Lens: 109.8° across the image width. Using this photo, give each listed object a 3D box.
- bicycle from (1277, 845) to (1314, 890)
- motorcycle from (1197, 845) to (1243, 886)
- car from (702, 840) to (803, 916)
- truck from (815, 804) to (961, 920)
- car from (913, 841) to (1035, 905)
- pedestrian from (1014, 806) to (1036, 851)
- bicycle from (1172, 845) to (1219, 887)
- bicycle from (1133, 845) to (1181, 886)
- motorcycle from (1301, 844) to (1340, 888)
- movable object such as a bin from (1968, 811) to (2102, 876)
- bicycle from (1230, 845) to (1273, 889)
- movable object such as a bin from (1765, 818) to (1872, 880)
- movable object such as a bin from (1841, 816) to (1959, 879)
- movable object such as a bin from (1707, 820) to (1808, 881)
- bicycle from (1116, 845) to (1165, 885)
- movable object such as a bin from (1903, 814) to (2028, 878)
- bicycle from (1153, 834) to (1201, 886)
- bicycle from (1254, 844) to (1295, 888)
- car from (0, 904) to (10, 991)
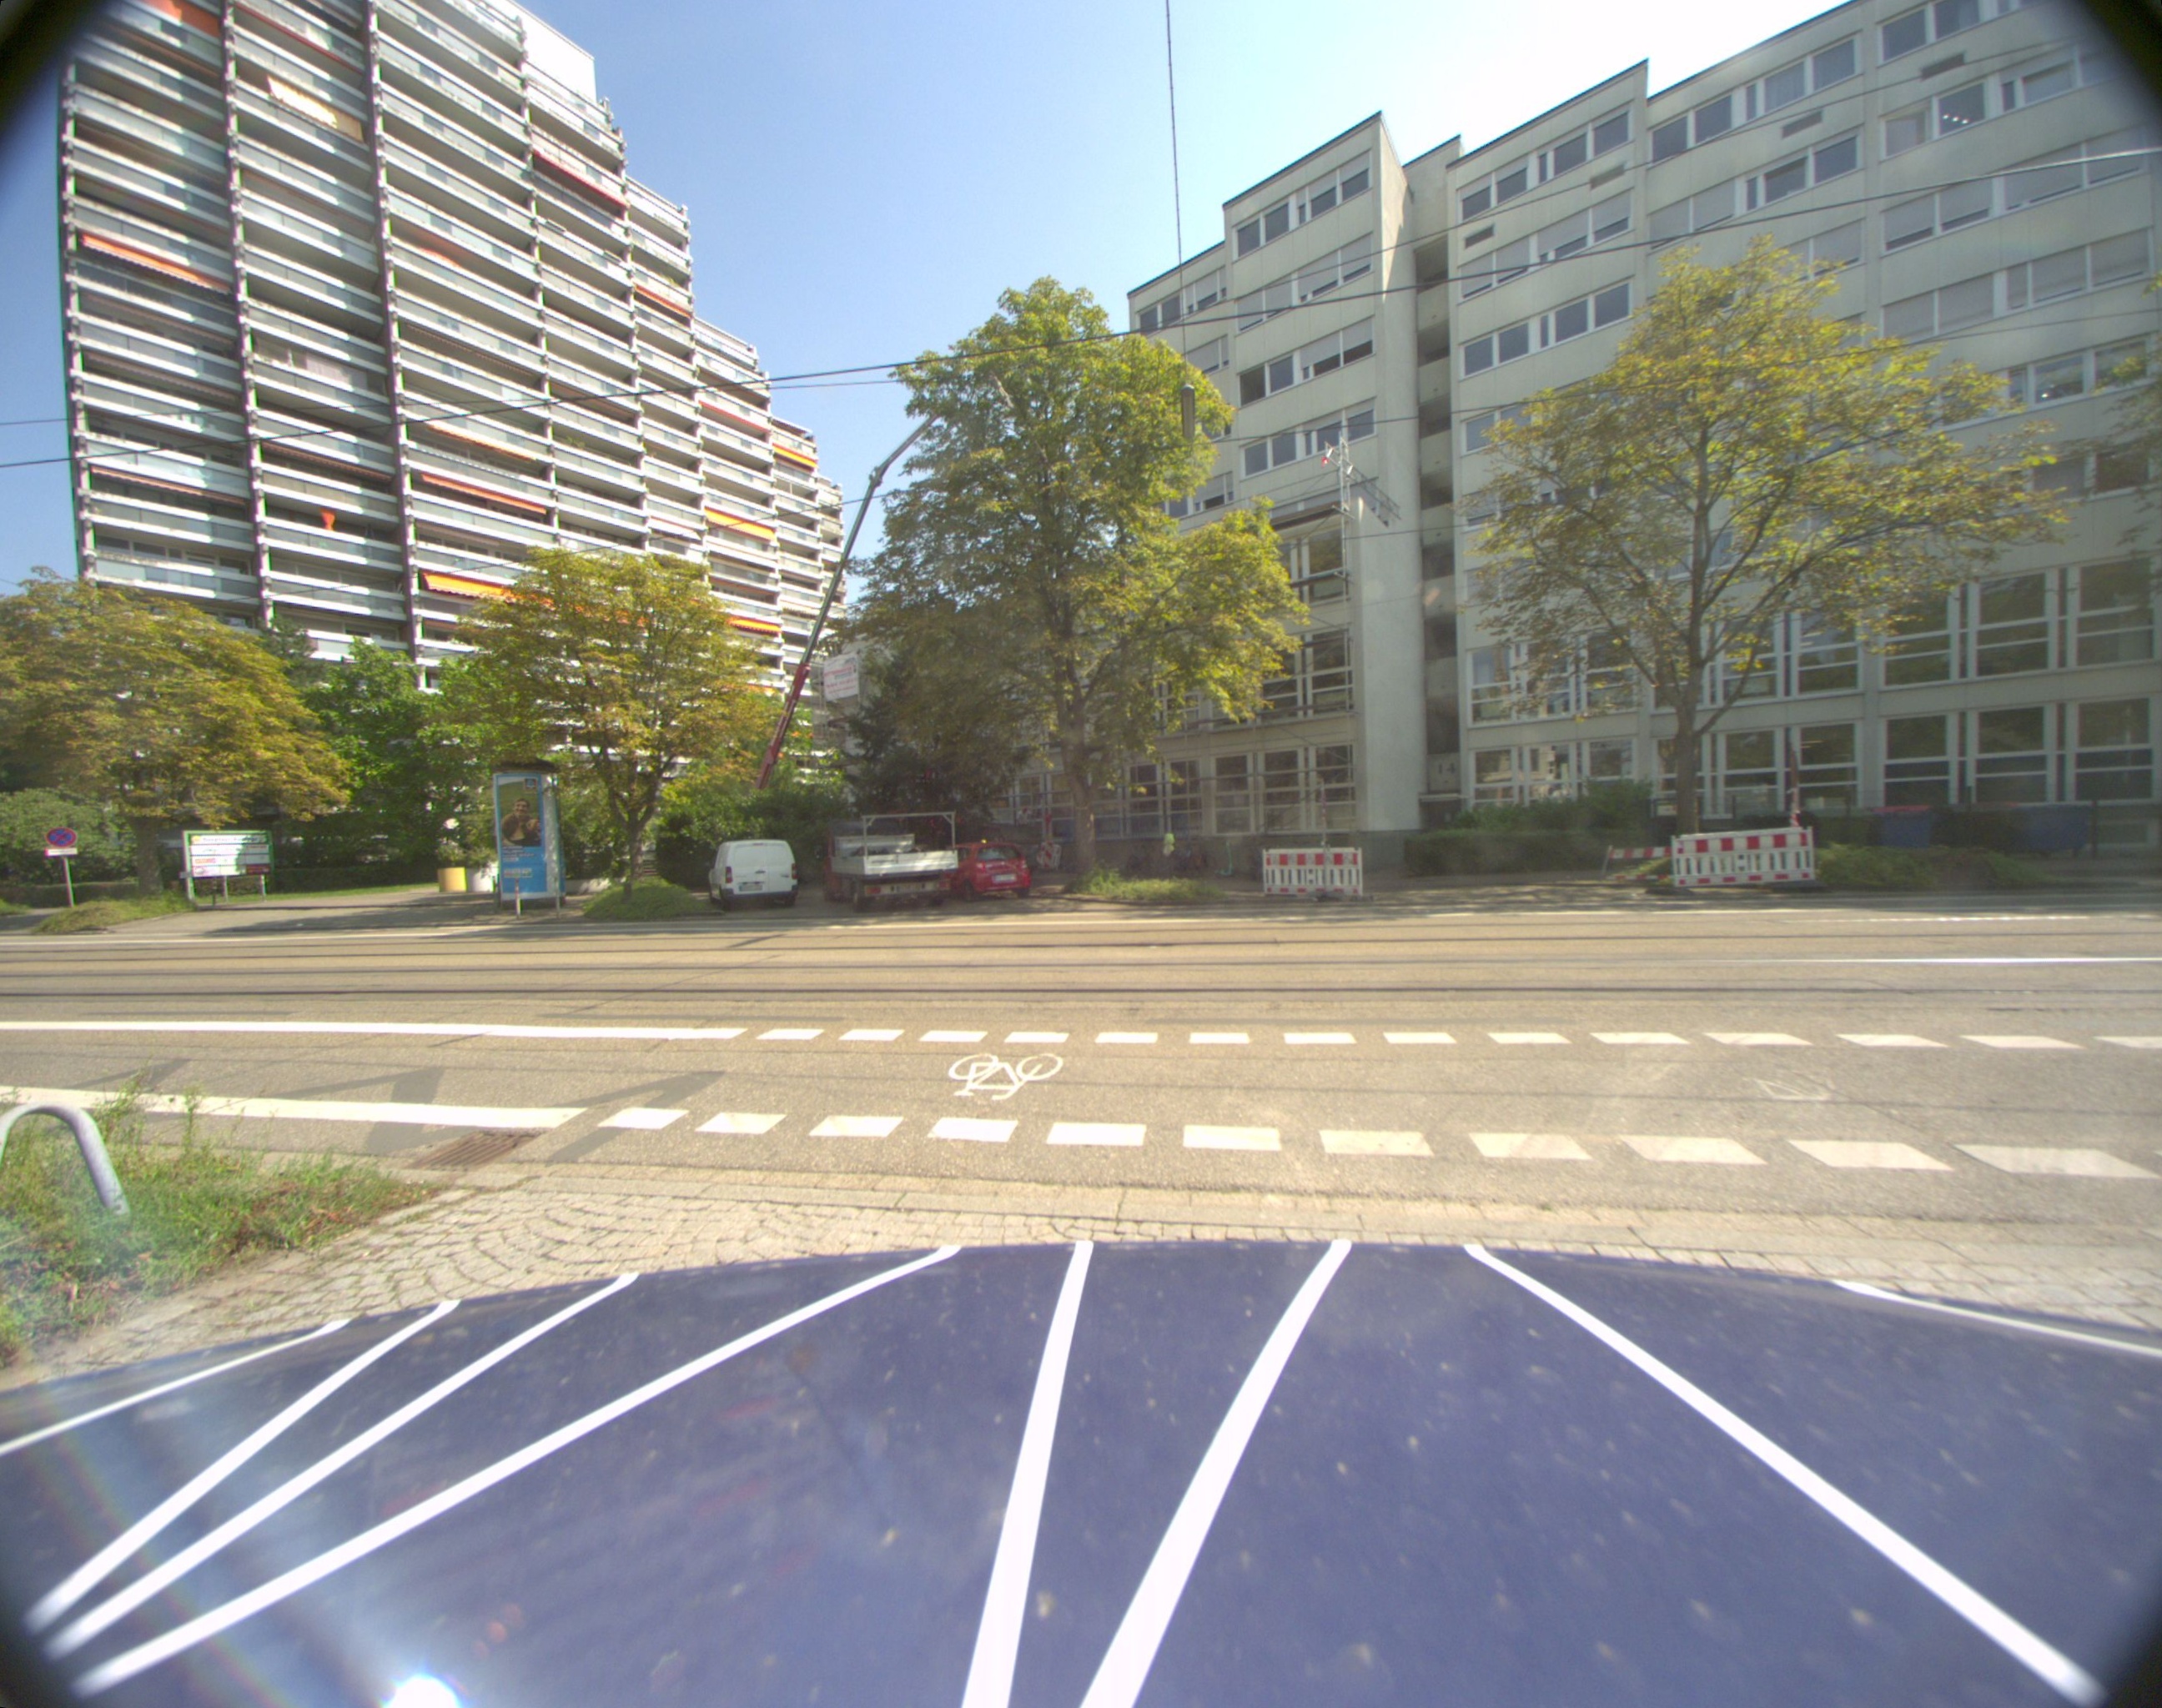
[{"bbox_3d":[6.508,0.370,22.997,0.560,1.163,2.349,0,4,28],"label":"bicycle"},{"bbox_3d":[4.481,0.343,24.335,0.742,1.148,2.009,0,4,31],"label":"motorcycle"},{"bbox_3d":[-8.966,0.558,20.540,1.828,1.762,4.275,-3,2,-32],"label":"car"},{"bbox_3d":[-5.077,0.133,19.176,2.153,2.421,5.955,-3,2,-28],"label":"truck"},{"bbox_3d":[-2.934,0.446,20.188,1.723,1.499,3.850,-3,2,-32],"label":"car"},{"bbox_3d":[-2.264,-1.015,30.754,0.740,1.777,0.829,-3,2,-10],"label":"pedestrian"},{"bbox_3d":[3.723,0.362,24.562,0.600,1.163,2.349,0,4,31],"label":"bicycle"},{"bbox_3d":[2.567,0.350,25.277,0.600,1.153,2.349,0,4,31],"label":"bicycle"},{"bbox_3d":[7.199,0.335,22.779,0.693,1.176,1.848,0,4,31],"label":"motorcycle"},{"bbox_3d":[24.370,-0.274,19.471,1.352,1.550,1.689,-2,1,10],"label":"movable object such as a bin"},{"bbox_3d":[5.332,0.386,23.643,0.620,1.163,2.349,0,4,29],"label":"bicycle"},{"bbox_3d":[19.803,-0.142,20.456,1.352,1.550,1.689,-2,1,10],"label":"movable object such as a bin"},{"bbox_3d":[21.367,-0.176,19.888,1.352,1.550,1.689,-2,1,10],"label":"movable object such as a bin"},{"bbox_3d":[18.351,-0.104,20.675,1.352,1.550,1.689,-2,1,10],"label":"movable object such as a bin"},{"bbox_3d":[2.041,0.342,25.608,0.600,1.153,2.349,0,4,31],"label":"bicycle"},{"bbox_3d":[22.927,-0.225,19.770,1.352,1.550,1.689,-2,1,10],"label":"movable object such as a bin"},{"bbox_3d":[3.169,0.167,24.895,0.600,1.517,2.349,0,4,31],"label":"bicycle"},{"bbox_3d":[5.968,0.336,23.317,0.620,1.163,2.349,0,4,28],"label":"bicycle"},{"bbox_3d":[-17.776,1.339,10.518,4.012,1.484,1.826,-2,3,11],"label":"car"}]
